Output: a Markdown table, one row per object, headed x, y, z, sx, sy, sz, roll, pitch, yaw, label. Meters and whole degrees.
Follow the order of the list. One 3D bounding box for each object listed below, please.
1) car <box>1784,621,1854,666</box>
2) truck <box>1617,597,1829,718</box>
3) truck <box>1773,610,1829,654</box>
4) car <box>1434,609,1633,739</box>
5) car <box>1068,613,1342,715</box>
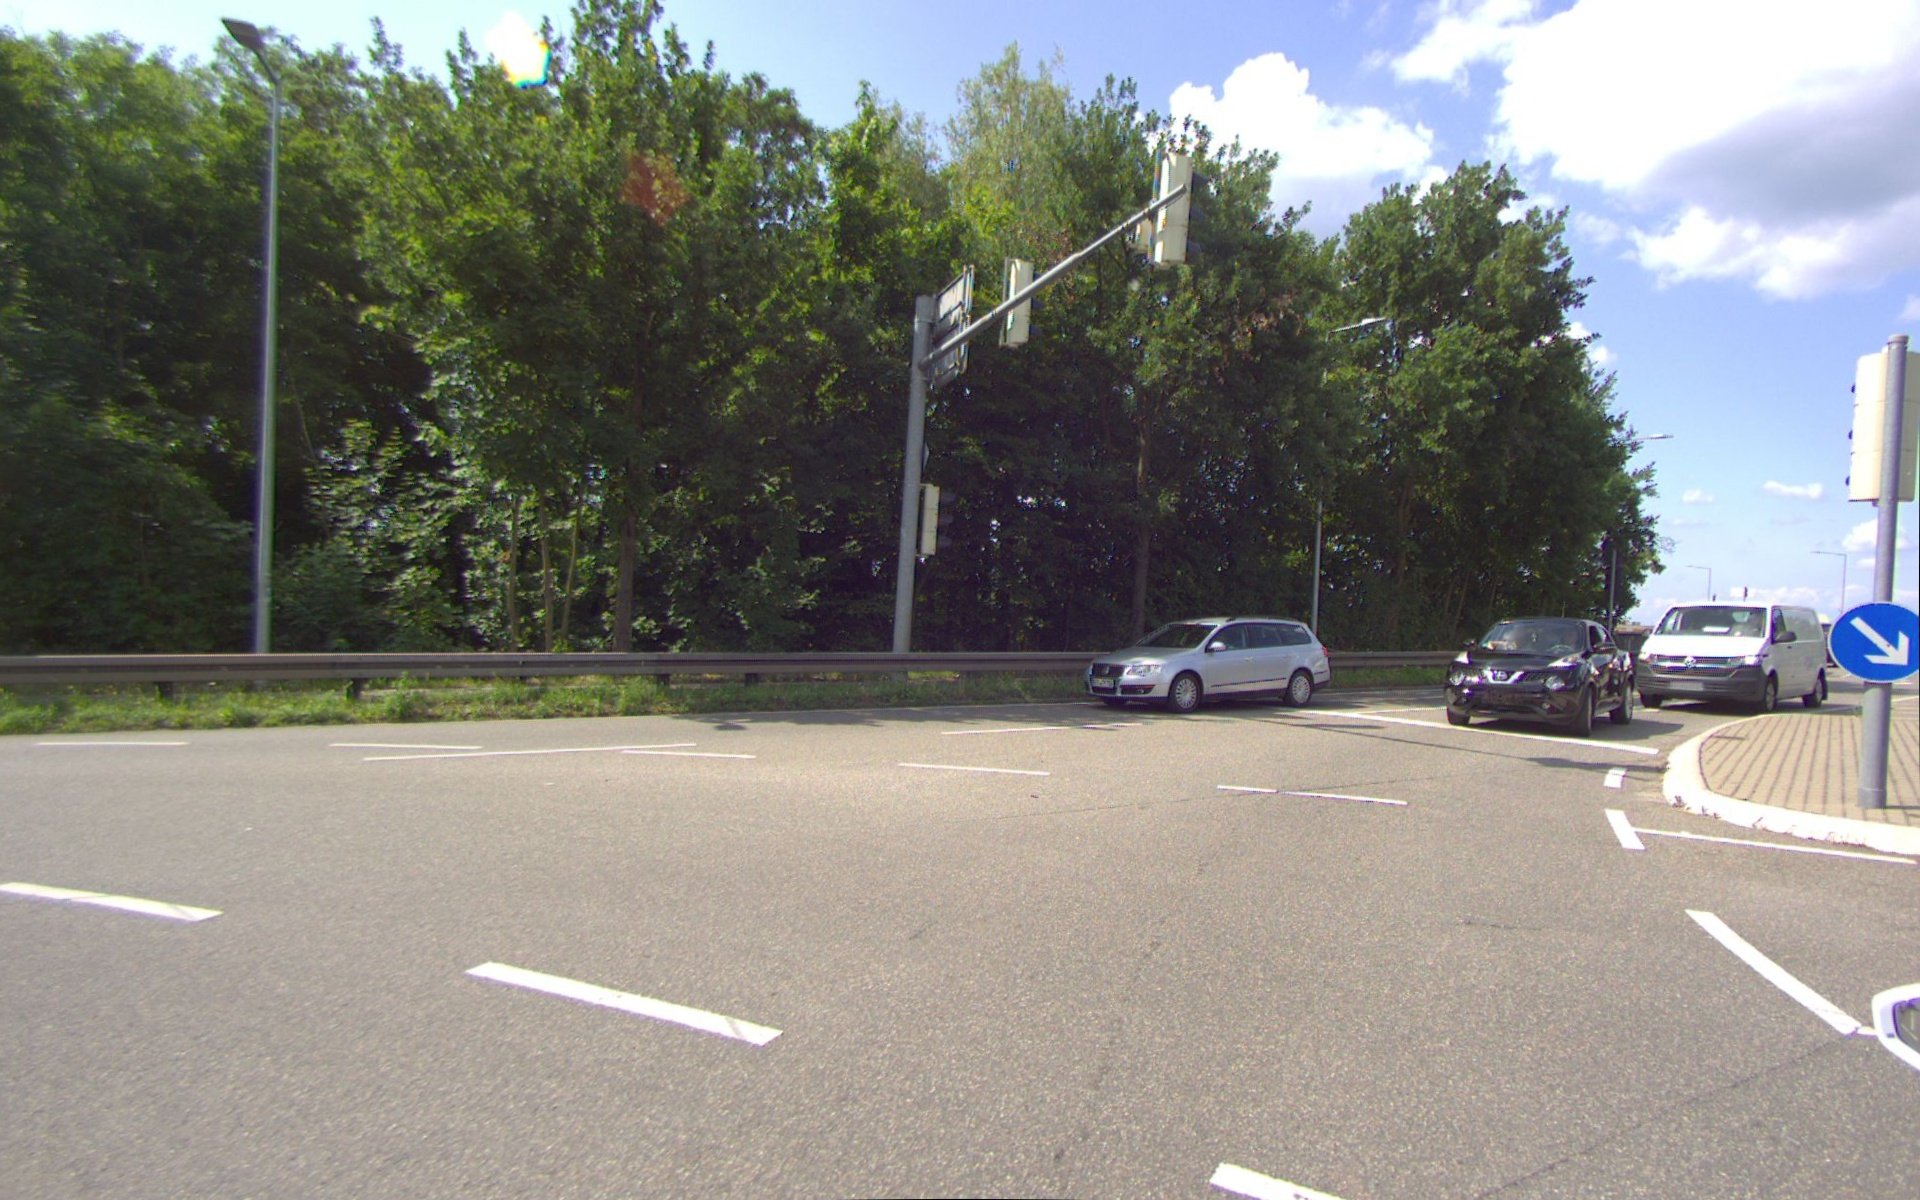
| x | y | z | sx | sy | sz | roll | pitch | yaw | label |
| --- | --- | --- | --- | --- | --- | --- | --- | --- | --- |
| 39.505 | 1.989 | 46.139 | 5.098 | 1.939 | 1.974 | 2 | -2 | -44 | car |
| 14.195 | 0.983 | 18.562 | 5.325 | 1.938 | 1.944 | 2 | -1 | -40 | truck |
| 53.387 | 2.046 | 63.842 | 1.966 | 2.655 | 6.087 | -1 | -2 | 33 | truck |
| 8.306 | 0.971 | 14.406 | 1.679 | 1.578 | 3.801 | 1 | -1 | 42 | car |
| 4.135 | 1.024 | 16.643 | 4.661 | 1.497 | 1.673 | 2 | -2 | -32 | car |
